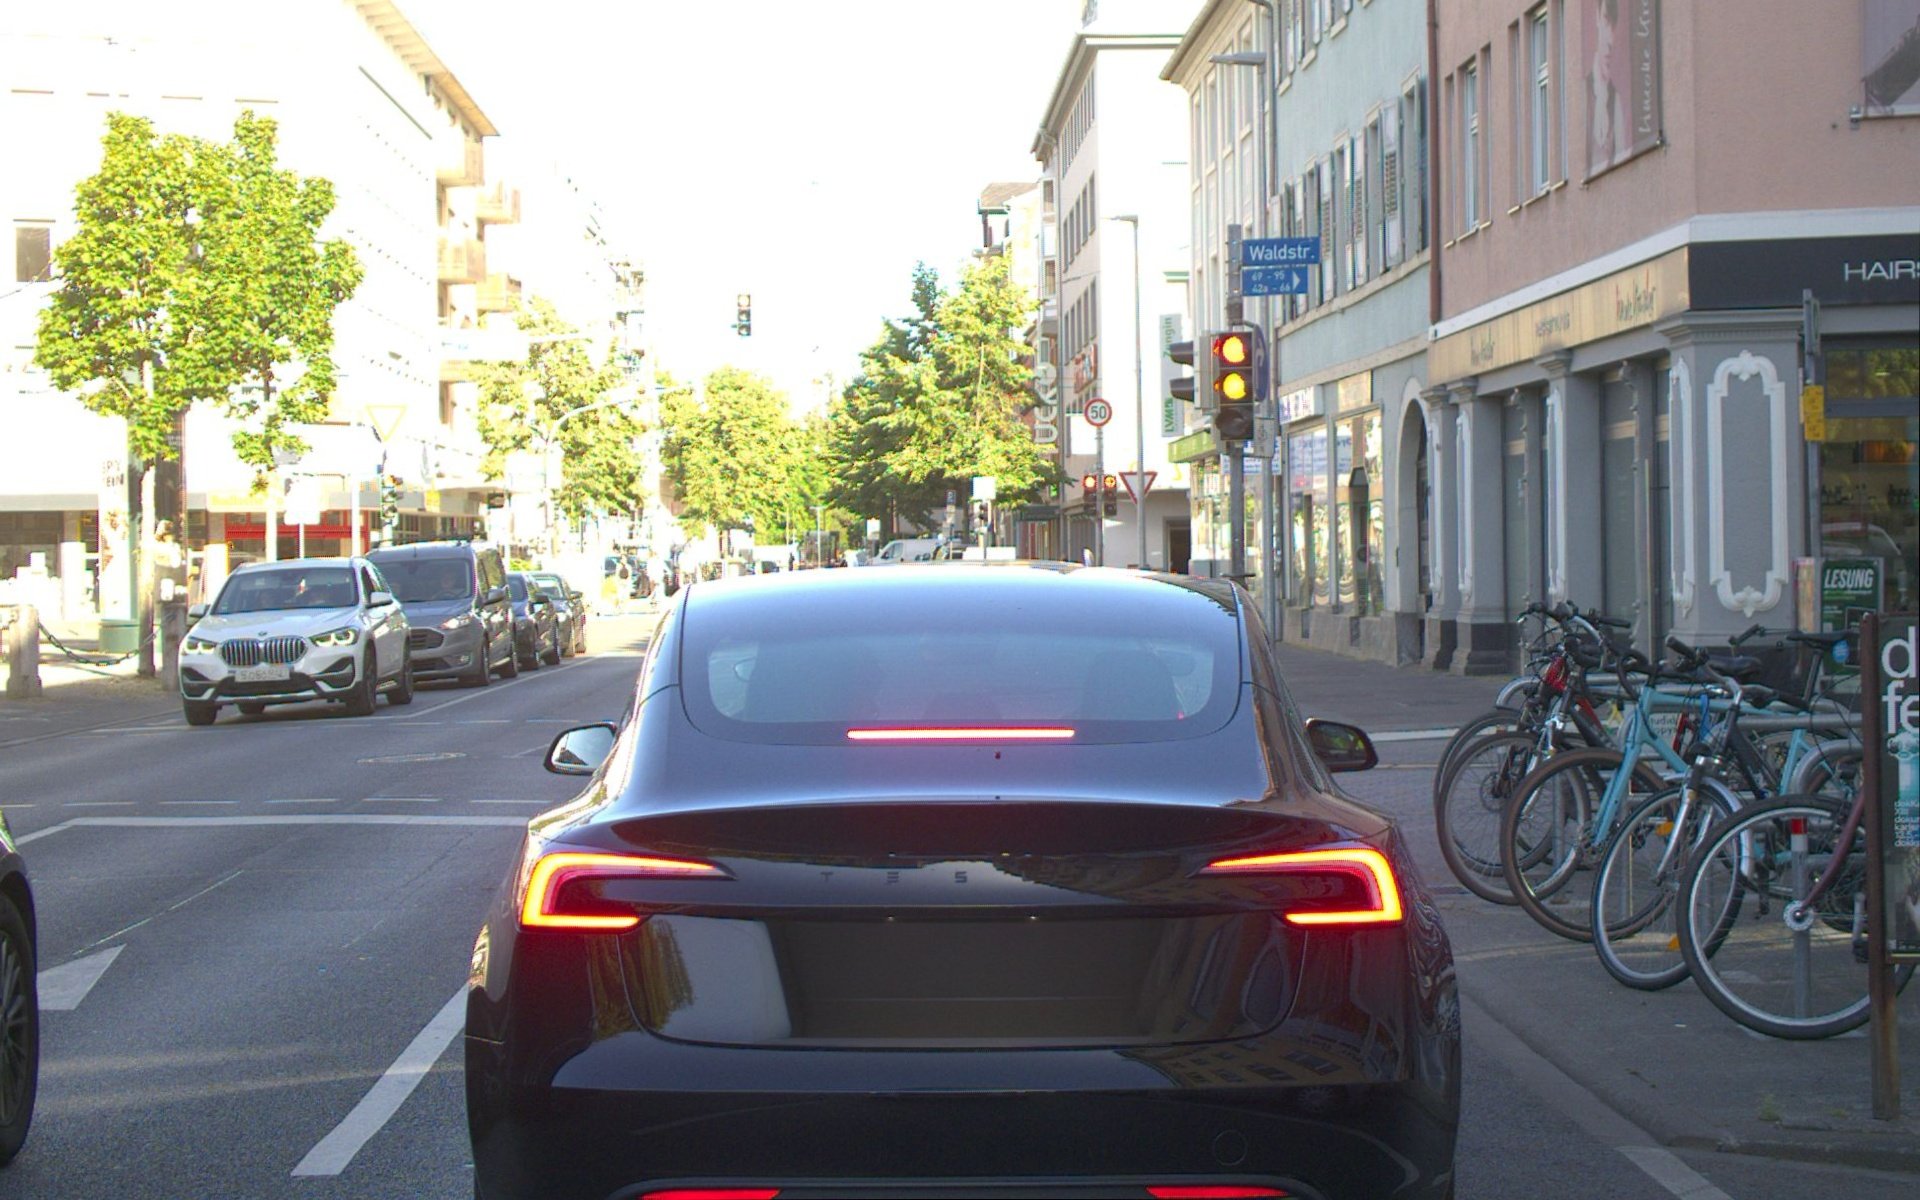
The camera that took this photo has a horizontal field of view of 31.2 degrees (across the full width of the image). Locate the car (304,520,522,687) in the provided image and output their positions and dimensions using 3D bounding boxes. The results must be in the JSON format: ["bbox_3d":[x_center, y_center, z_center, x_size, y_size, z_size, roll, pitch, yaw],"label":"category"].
[{"bbox_3d":[-6.711,-0.003,42.613,1.834,1.838,4.674,-4,1,0],"label":"car"}]

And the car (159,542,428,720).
[{"bbox_3d":[-6.637,0.258,34.692,1.807,1.550,4.310,-4,1,0],"label":"car"}]

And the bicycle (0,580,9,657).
[{"bbox_3d":[-15.708,0.282,52.240,2.323,1.152,0.843,0,1,-5],"label":"bicycle"}]

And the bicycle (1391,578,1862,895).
[{"bbox_3d":[2.813,0.569,14.687,1.862,1.253,0.832,-2,1,5],"label":"bicycle"}]

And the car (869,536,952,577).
[{"bbox_3d":[-2.415,-2.134,167.562,3.986,2.007,2.000,0,1,-2],"label":"car"}]

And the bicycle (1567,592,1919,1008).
[{"bbox_3d":[2.889,0.619,11.127,1.722,1.263,0.790,-2,1,5],"label":"bicycle"}]

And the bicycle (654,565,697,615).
[{"bbox_3d":[-7.890,-0.289,95.539,1.111,1.340,4.001,0,1,-3],"label":"bicycle"}]

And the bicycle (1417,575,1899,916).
[{"bbox_3d":[2.743,0.562,13.657,1.746,1.262,0.781,-2,1,3],"label":"bicycle"}]

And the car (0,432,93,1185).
[{"bbox_3d":[-3.211,0.525,6.625,1.993,1.766,4.729,-1,1,-2],"label":"car"}]

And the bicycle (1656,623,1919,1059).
[{"bbox_3d":[3.035,0.669,9.995,1.886,1.189,0.691,-2,1,5],"label":"bicycle"}]

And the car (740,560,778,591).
[{"bbox_3d":[-10.937,-1.353,187.083,1.993,1.631,4.001,0,1,-3],"label":"car"}]

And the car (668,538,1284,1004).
[{"bbox_3d":[-0.015,0.518,13.217,1.993,1.507,4.176,0,1,-2],"label":"car"}]

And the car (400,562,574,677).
[{"bbox_3d":[-6.743,0.241,49.441,1.993,1.405,4.675,-4,1,-3],"label":"car"}]

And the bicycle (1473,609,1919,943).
[{"bbox_3d":[2.809,0.622,12.478,1.798,1.120,0.781,-2,1,5],"label":"bicycle"}]

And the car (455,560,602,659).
[{"bbox_3d":[-7.108,0.124,57.032,1.993,1.431,4.675,-4,1,-3],"label":"car"}]

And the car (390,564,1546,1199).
[{"bbox_3d":[-0.007,0.653,7.509,1.848,1.450,4.000,0,1,-1],"label":"car"}]

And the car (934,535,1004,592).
[{"bbox_3d":[0.248,-1.083,100.778,1.993,1.623,4.000,0,1,0],"label":"car"}]

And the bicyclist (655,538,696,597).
[{"bbox_3d":[-7.908,-0.904,95.622,1.126,1.623,0.965,0,1,-3],"label":"bicyclist"}]
